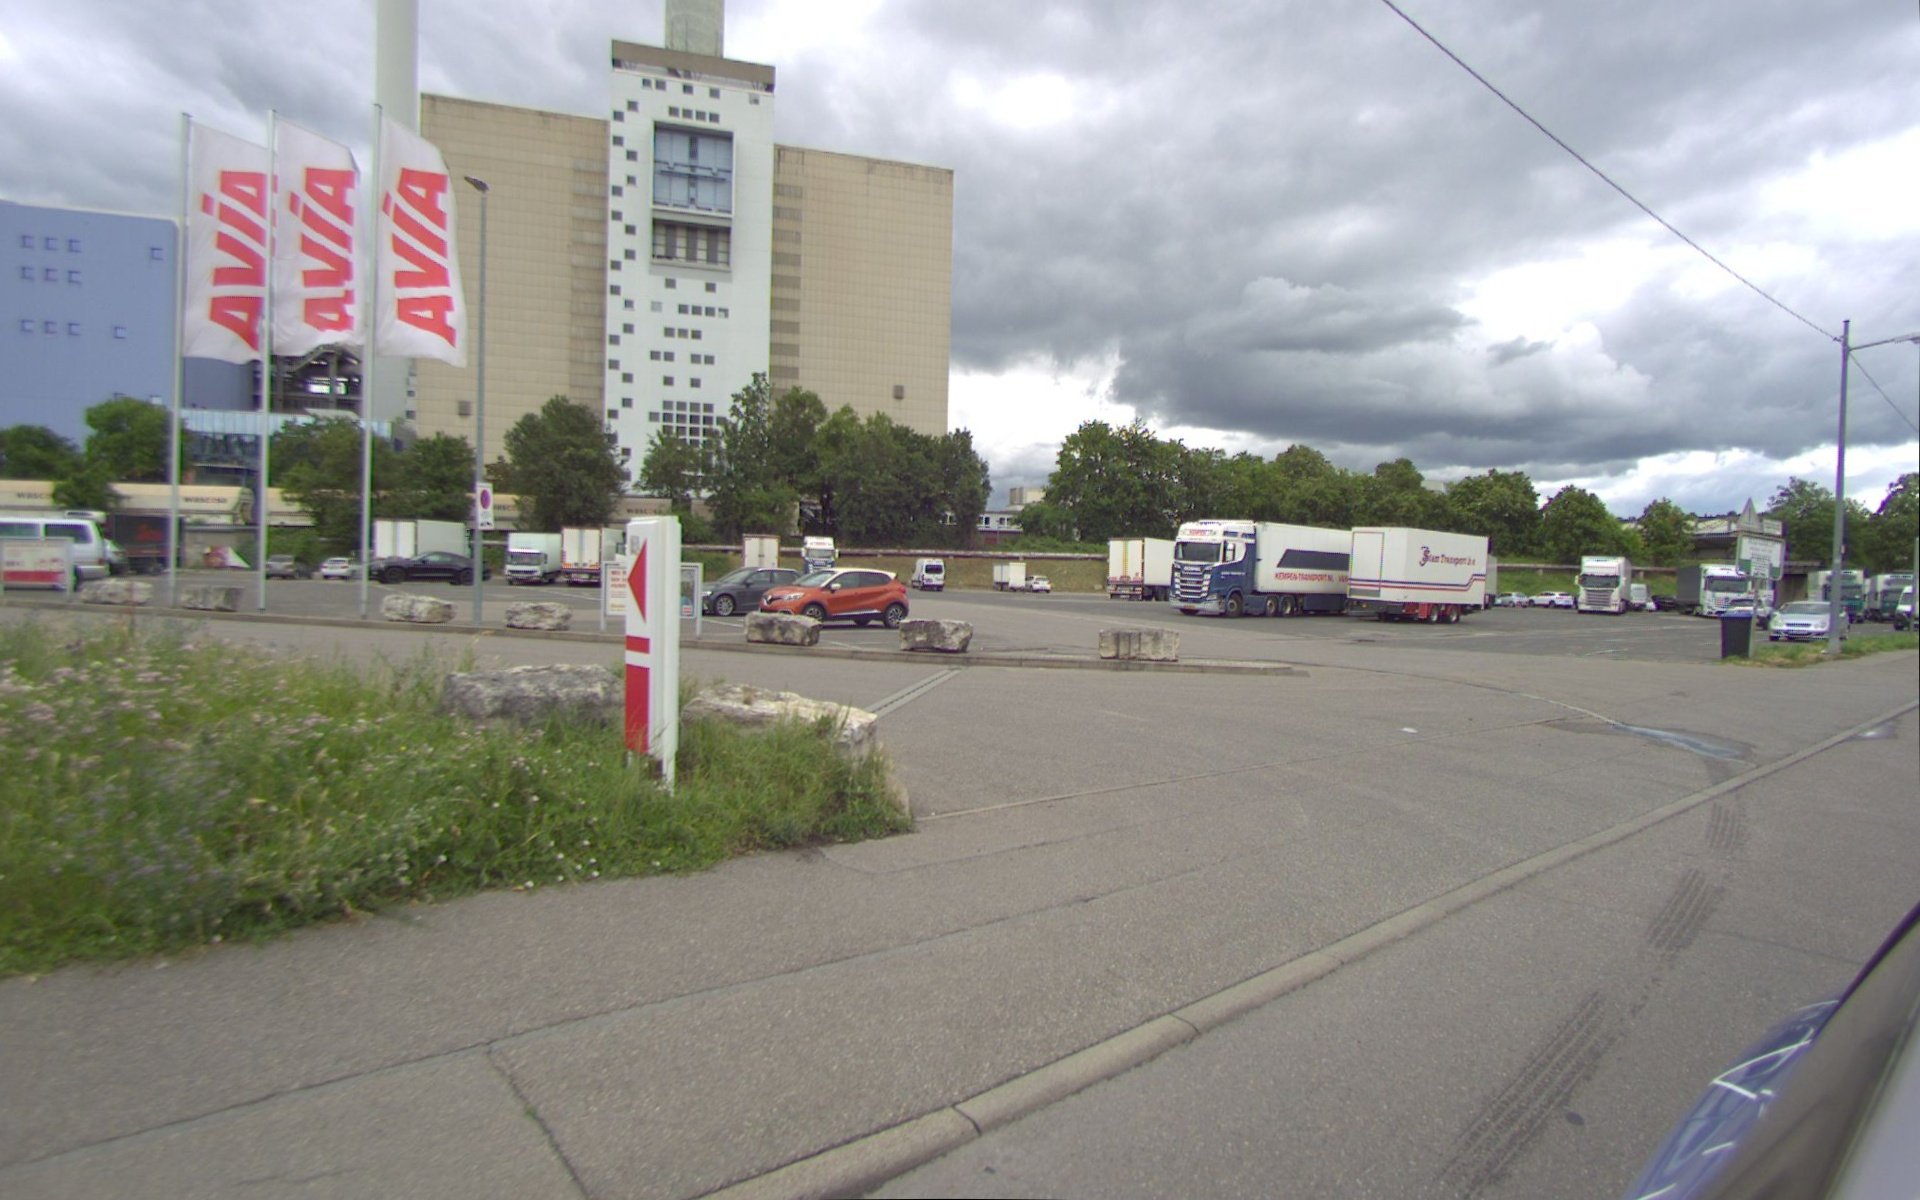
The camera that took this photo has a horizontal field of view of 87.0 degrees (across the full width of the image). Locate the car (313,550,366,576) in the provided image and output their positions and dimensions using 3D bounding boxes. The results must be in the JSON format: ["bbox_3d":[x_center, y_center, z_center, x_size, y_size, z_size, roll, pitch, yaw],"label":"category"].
[{"bbox_3d":[-41.983,-2.516,68.539,1.948,1.620,4.700,1,2,-17],"label":"car"}]

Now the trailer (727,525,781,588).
[{"bbox_3d":[-16.078,-3.292,78.312,3.566,4.224,18.542,1,2,-12],"label":"trailer"}]

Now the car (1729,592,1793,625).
[{"bbox_3d":[39.562,0.404,49.986,3.930,1.591,1.768,0,0,-41],"label":"car"}]

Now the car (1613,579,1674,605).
[{"bbox_3d":[69.252,-0.812,102.653,2.322,2.479,4.929,1,1,-8],"label":"car"}]

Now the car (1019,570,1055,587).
[{"bbox_3d":[6.769,-1.879,89.397,1.958,1.371,4.158,1,2,-13],"label":"car"}]

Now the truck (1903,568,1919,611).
[{"bbox_3d":[85.706,-0.849,88.528,2.809,3.757,9.001,2,2,32],"label":"truck"}]

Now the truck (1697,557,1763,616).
[{"bbox_3d":[57.433,-1.046,75.650,2.851,4.145,6.685,3,2,30],"label":"truck"}]

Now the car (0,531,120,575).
[{"bbox_3d":[-36.775,-1.872,40.670,4.607,1.620,1.987,0,2,-41],"label":"car"}]

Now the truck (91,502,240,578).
[{"bbox_3d":[-50.652,-3.679,65.085,2.812,4.344,12.005,0,2,-14],"label":"truck"}]

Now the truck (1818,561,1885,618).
[{"bbox_3d":[67.908,-0.857,77.191,2.857,4.063,6.672,3,2,35],"label":"truck"}]

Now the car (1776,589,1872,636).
[{"bbox_3d":[29.747,0.407,34.801,4.479,1.482,1.777,0,2,-40],"label":"car"}]

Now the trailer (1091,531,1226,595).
[{"bbox_3d":[13.915,-2.425,69.455,3.621,3.959,13.560,2,2,36],"label":"trailer"}]

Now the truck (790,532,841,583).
[{"bbox_3d":[-12.135,-3.498,84.524,3.634,4.013,7.272,1,1,-12],"label":"truck"}]

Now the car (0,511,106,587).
[{"bbox_3d":[-25.843,-1.376,26.822,4.864,1.936,1.987,0,2,-41],"label":"car"}]

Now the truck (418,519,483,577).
[{"bbox_3d":[-41.529,-4.167,82.674,3.474,4.487,6.669,0,1,-15],"label":"truck"}]

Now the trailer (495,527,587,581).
[{"bbox_3d":[-32.241,-3.492,78.931,3.566,3.590,18.543,1,2,-13],"label":"trailer"}]

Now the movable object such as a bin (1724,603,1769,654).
[{"bbox_3d":[17.698,0.640,22.787,0.714,1.095,0.652,2,1,44],"label":"movable object such as a bin"}]

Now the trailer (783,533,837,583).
[{"bbox_3d":[-14.091,-3.789,93.452,3.566,4.007,18.542,1,2,-12],"label":"trailer"}]

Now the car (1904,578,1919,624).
[{"bbox_3d":[53.071,0.079,54.737,5.973,2.445,2.091,0,2,-39],"label":"car"}]

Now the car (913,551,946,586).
[{"bbox_3d":[-2.627,-2.680,85.831,2.065,2.871,5.096,1,2,-9],"label":"car"}]

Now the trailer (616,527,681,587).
[{"bbox_3d":[-24.509,-3.309,80.583,3.566,4.140,18.543,1,2,-13],"label":"trailer"}]

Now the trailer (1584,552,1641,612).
[{"bbox_3d":[49.889,-1.386,77.201,2.823,4.145,13.224,3,2,36],"label":"trailer"}]

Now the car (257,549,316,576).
[{"bbox_3d":[-43.892,-2.460,66.038,1.948,1.620,4.700,1,2,-17],"label":"car"}]

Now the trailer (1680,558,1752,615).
[{"bbox_3d":[60.966,-1.156,81.894,2.816,4.145,13.257,3,2,29],"label":"trailer"}]

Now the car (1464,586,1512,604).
[{"bbox_3d":[52.173,-0.523,100.007,1.958,1.628,4.229,1,2,-10],"label":"car"}]

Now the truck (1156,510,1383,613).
[{"bbox_3d":[14.104,-1.621,45.069,12.837,4.015,3.082,0,4,-40],"label":"truck"}]

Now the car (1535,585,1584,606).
[{"bbox_3d":[59.203,-0.490,100.039,1.958,1.896,4.008,1,2,-10],"label":"car"}]

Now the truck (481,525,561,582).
[{"bbox_3d":[-30.212,-3.178,69.997,3.634,3.601,7.272,1,2,-12],"label":"truck"}]

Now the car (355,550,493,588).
[{"bbox_3d":[-21.590,-1.230,40.875,4.602,1.386,1.987,0,2,-41],"label":"car"}]

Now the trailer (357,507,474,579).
[{"bbox_3d":[-39.091,-3.882,73.698,3.484,4.556,18.333,0,2,-15],"label":"trailer"}]

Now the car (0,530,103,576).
[{"bbox_3d":[-35.495,-1.785,38.324,4.607,1.620,1.987,0,2,-41],"label":"car"}]

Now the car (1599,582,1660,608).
[{"bbox_3d":[66.866,-0.531,101.163,2.322,2.479,4.929,1,1,-8],"label":"car"}]

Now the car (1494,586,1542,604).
[{"bbox_3d":[54.680,-0.485,99.197,1.958,1.628,4.008,1,2,-10],"label":"car"}]

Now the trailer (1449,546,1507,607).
[{"bbox_3d":[39.028,-1.740,75.968,2.597,4.145,12.300,3,2,32],"label":"trailer"}]

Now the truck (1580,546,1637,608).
[{"bbox_3d":[46.366,-1.625,72.272,2.858,4.145,6.669,3,2,36],"label":"truck"}]

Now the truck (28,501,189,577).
[{"bbox_3d":[-53.599,-3.683,64.289,2.812,4.344,12.005,0,2,-14],"label":"truck"}]

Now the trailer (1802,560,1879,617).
[{"bbox_3d":[71.281,-0.971,82.217,2.821,4.145,13.235,3,2,34],"label":"trailer"}]

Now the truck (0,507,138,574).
[{"bbox_3d":[-63.516,-4.095,72.118,2.812,4.344,12.005,0,2,-14],"label":"truck"}]

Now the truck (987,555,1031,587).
[{"bbox_3d":[4.281,-2.631,89.697,2.233,2.520,5.974,2,3,-14],"label":"truck"}]

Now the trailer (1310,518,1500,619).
[{"bbox_3d":[19.822,-1.340,44.717,10.213,4.015,2.967,0,3,-38],"label":"trailer"}]

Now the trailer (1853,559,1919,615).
[{"bbox_3d":[76.346,-1.060,82.881,2.821,4.145,13.235,3,2,34],"label":"trailer"}]

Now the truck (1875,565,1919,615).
[{"bbox_3d":[72.825,-0.769,77.644,2.857,3.674,6.672,3,2,35],"label":"truck"}]

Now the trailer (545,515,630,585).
[{"bbox_3d":[-27.455,-3.545,75.584,3.484,4.556,18.330,0,2,-12],"label":"trailer"}]

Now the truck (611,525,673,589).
[{"bbox_3d":[-22.364,-2.982,71.621,3.633,4.171,7.273,1,1,-13],"label":"truck"}]

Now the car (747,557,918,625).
[{"bbox_3d":[-3.274,-0.241,26.417,4.142,1.590,1.769,0,3,-41],"label":"car"}]

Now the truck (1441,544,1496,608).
[{"bbox_3d":[35.257,-1.658,70.024,2.597,4.145,6.678,3,2,33],"label":"truck"}]

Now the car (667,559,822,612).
[{"bbox_3d":[-6.348,-0.428,30.042,4.142,1.407,1.769,0,4,-41],"label":"car"}]

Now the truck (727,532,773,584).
[{"bbox_3d":[-18.145,-3.608,87.448,3.634,4.224,7.272,1,1,-12],"label":"truck"}]
